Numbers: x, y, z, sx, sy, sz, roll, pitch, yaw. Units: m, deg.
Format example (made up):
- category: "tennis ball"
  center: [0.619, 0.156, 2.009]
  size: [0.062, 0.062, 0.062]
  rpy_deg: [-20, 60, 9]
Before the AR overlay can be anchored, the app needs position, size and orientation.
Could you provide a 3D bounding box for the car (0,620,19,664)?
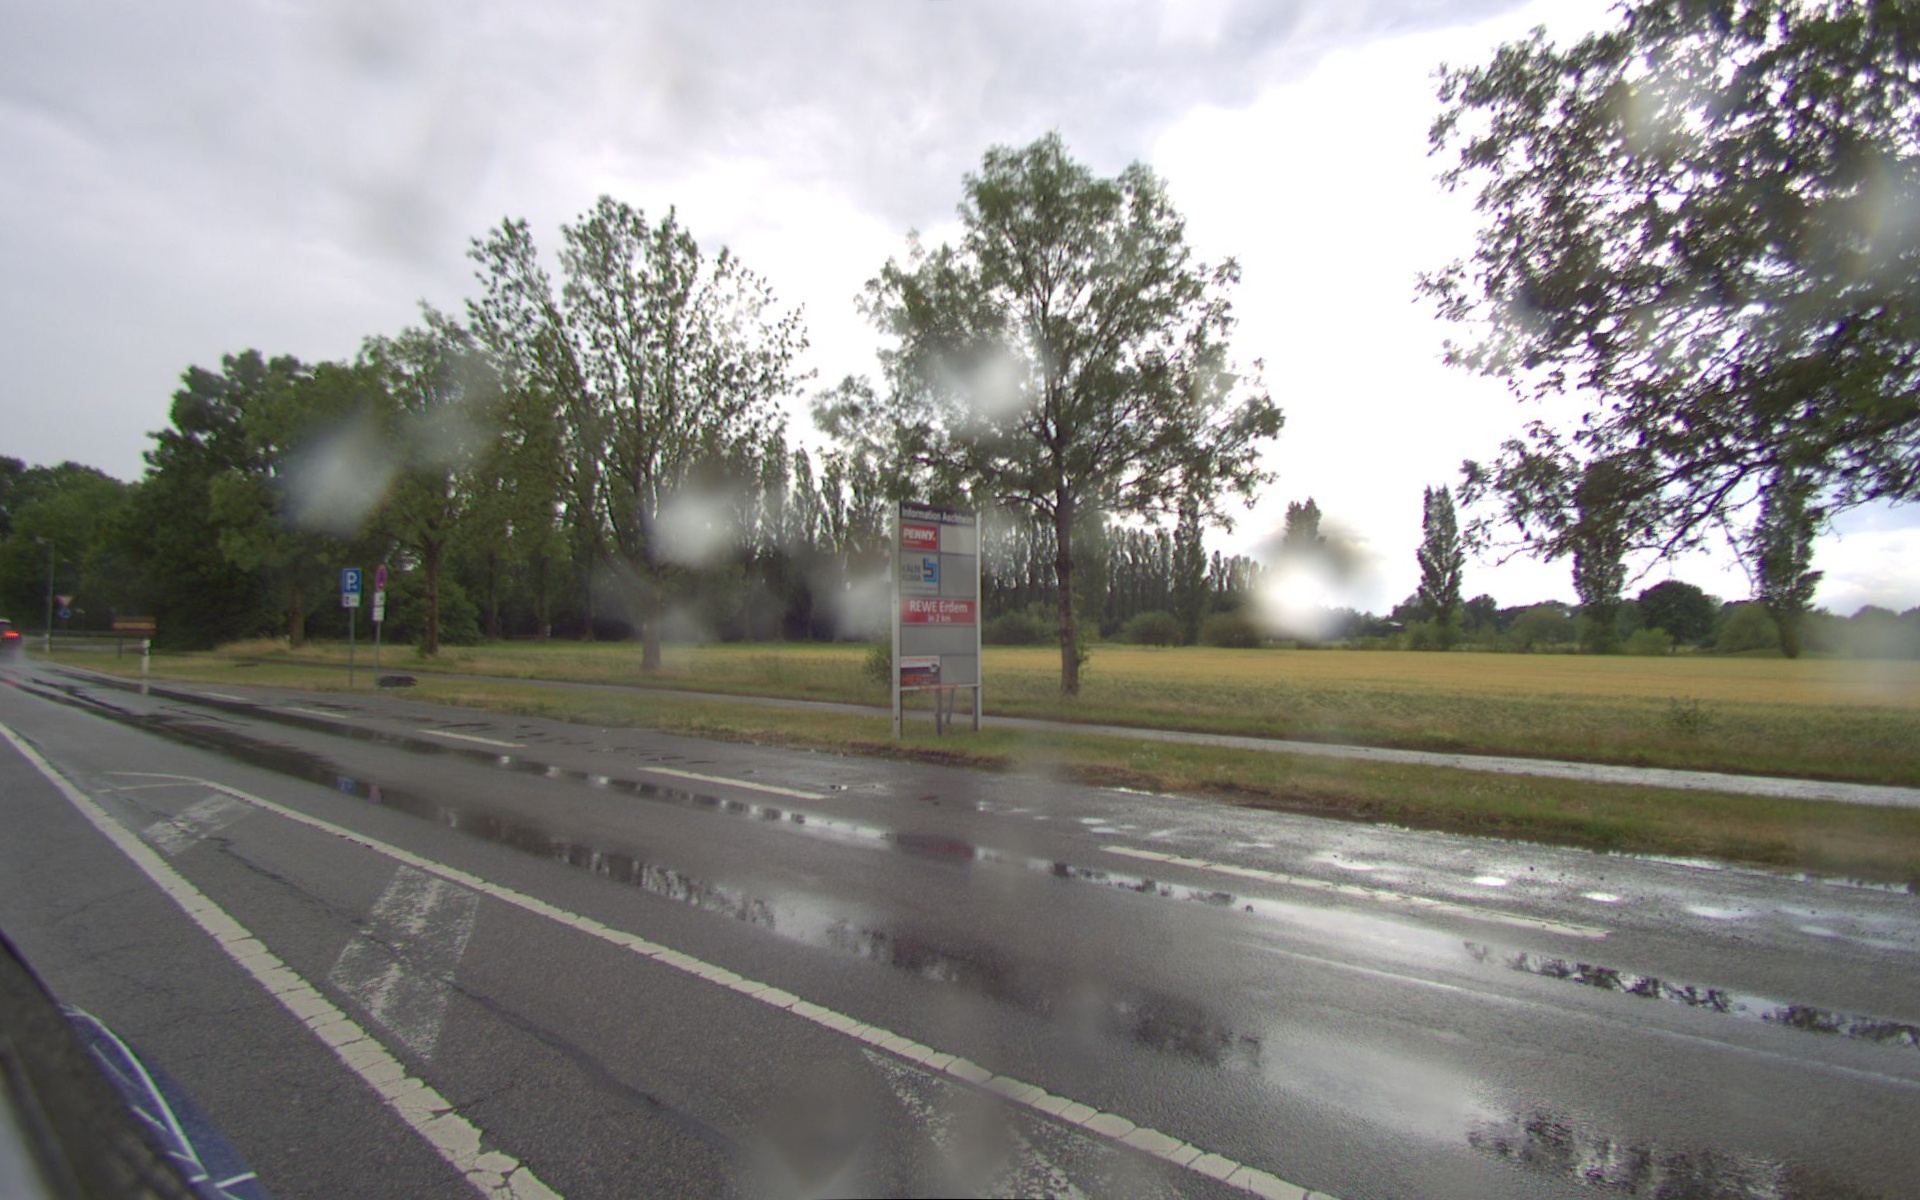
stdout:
- category: "car"
  center: [-37.523, 1.574, 38.644]
  size: [4.355, 1.644, 1.896]
  rpy_deg: [-1, -2, 42]
